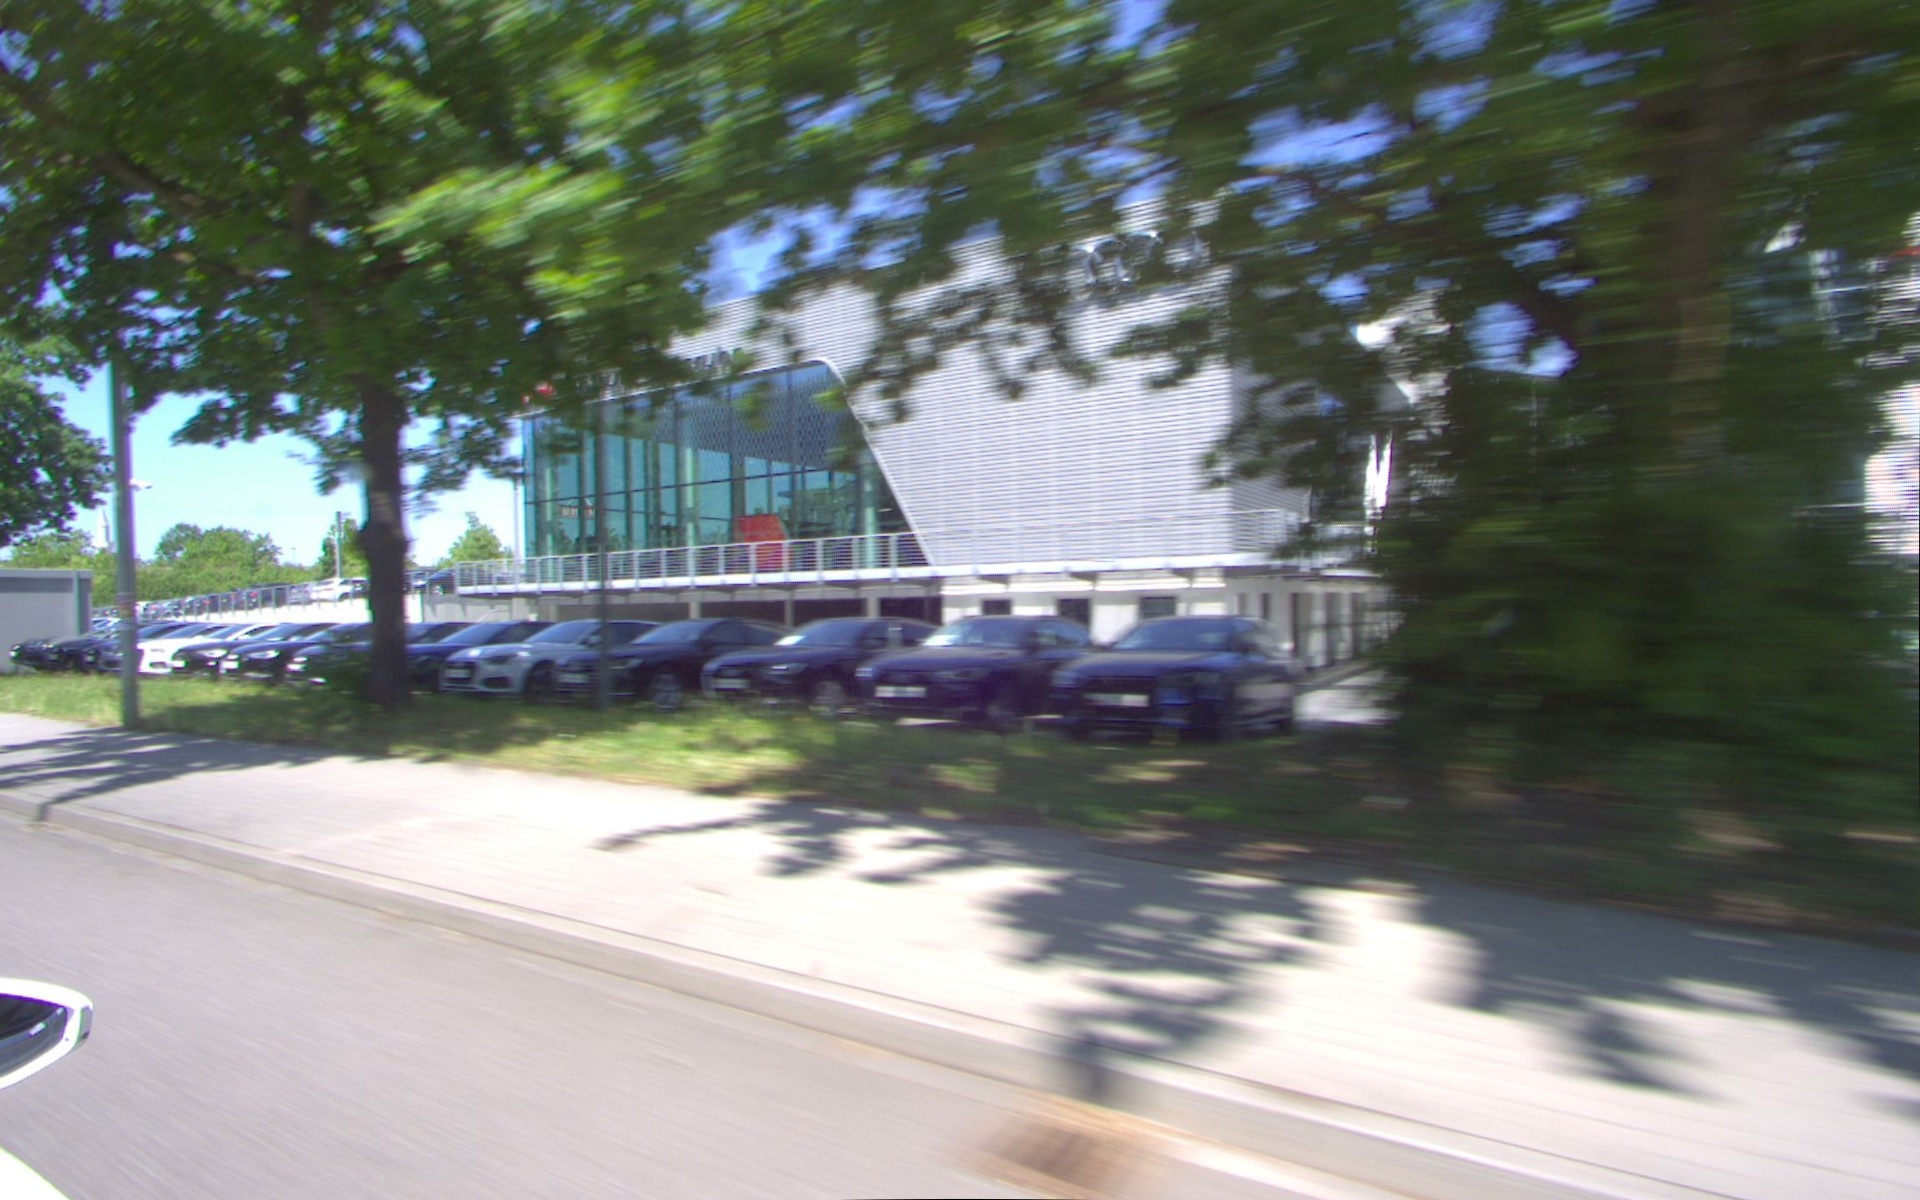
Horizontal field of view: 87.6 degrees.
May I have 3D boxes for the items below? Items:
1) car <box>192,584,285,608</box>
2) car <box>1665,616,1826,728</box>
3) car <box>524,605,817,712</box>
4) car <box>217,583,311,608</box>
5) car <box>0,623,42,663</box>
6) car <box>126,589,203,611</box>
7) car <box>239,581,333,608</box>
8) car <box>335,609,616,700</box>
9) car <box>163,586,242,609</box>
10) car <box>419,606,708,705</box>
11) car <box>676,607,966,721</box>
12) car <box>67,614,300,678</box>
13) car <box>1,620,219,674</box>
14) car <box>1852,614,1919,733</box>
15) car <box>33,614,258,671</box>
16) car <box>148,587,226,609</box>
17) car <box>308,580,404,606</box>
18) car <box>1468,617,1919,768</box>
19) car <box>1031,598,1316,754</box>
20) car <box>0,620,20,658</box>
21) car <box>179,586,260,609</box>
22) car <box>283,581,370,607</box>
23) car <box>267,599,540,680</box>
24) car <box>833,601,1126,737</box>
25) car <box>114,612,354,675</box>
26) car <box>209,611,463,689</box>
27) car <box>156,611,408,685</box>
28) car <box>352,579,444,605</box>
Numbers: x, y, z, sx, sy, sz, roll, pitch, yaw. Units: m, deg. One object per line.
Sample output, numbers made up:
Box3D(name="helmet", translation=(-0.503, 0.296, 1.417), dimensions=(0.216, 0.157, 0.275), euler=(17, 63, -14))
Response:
Box3D(name="car", translation=(-41.801, -0.238, 58.097), dimensions=(1.769, 1.329, 3.984), euler=(-1, 0, 27))
Box3D(name="car", translation=(12.763, 1.121, 16.486), dimensions=(1.617, 1.603, 3.893), euler=(-1, -3, 31))
Box3D(name="car", translation=(-4.321, 0.931, 15.624), dimensions=(1.890, 1.424, 4.217), euler=(-1, -4, 31))
Box3D(name="car", translation=(-39.447, -0.270, 56.840), dimensions=(1.769, 1.329, 3.984), euler=(-1, 0, 27))
Box3D(name="car", translation=(-35.692, 1.446, 35.655), dimensions=(1.769, 1.393, 3.990), euler=(-1, -5, 27))
Box3D(name="car", translation=(-50.258, -0.005, 63.345), dimensions=(1.519, 1.255, 3.519), euler=(-1, -2, 31))
Box3D(name="car", translation=(-37.217, -0.267, 55.375), dimensions=(1.769, 1.328, 3.986), euler=(-1, -2, 27))
Box3D(name="car", translation=(-8.588, 1.010, 18.141), dimensions=(1.890, 1.424, 4.217), euler=(-1, -4, 31))
Box3D(name="car", translation=(-46.080, -0.133, 60.982), dimensions=(1.586, 1.255, 3.521), euler=(-1, -2, 29))
Box3D(name="car", translation=(-6.475, 0.956, 16.830), dimensions=(1.890, 1.424, 4.217), euler=(-1, -4, 31))
Box3D(name="car", translation=(-1.790, 0.919, 14.301), dimensions=(1.852, 1.372, 4.217), euler=(-1, -4, 31))
Box3D(name="car", translation=(-19.432, 1.196, 25.257), dimensions=(1.890, 1.470, 4.217), euler=(-1, -4, 31))
Box3D(name="car", translation=(-23.511, 1.342, 27.869), dimensions=(1.890, 1.358, 4.217), euler=(-1, -4, 31))
Box3D(name="car", translation=(15.260, 1.097, 15.225), dimensions=(1.824, 1.675, 3.980), euler=(-1, -3, 31))
Box3D(name="car", translation=(-21.413, 1.167, 26.511), dimensions=(1.890, 1.358, 4.217), euler=(-1, -4, 31))
Box3D(name="car", translation=(-47.712, -0.096, 61.898), dimensions=(1.518, 1.255, 3.521), euler=(-1, -2, 29))
Box3D(name="car", translation=(-30.871, -0.338, 51.269), dimensions=(1.690, 1.227, 3.937), euler=(-1, -1, 27))
Box3D(name="car", translation=(8.135, 0.973, 11.250), dimensions=(1.819, 1.331, 4.460), euler=(2, -4, -15))
Box3D(name="car", translation=(2.640, 0.844, 11.431), dimensions=(1.807, 1.409, 4.445), euler=(-1, -4, 31))
Box3D(name="car", translation=(-37.958, 1.357, 37.218), dimensions=(1.769, 1.456, 3.990), euler=(-1, -5, 27))
Box3D(name="car", translation=(-44.050, -0.119, 59.631), dimensions=(1.586, 1.255, 3.521), euler=(-1, -2, 29))
Box3D(name="car", translation=(-33.302, -0.288, 52.725), dimensions=(1.650, 1.255, 3.523), euler=(-1, -2, 27))
Box3D(name="car", translation=(-10.664, 0.833, 19.507), dimensions=(1.960, 1.386, 4.217), euler=(-1, -4, 31))
Box3D(name="car", translation=(0.450, 0.875, 12.787), dimensions=(1.799, 1.424, 4.321), euler=(-1, -4, 31))
Box3D(name="car", translation=(-17.168, 1.091, 23.900), dimensions=(1.890, 1.358, 4.217), euler=(-1, -4, 31))
Box3D(name="car", translation=(-12.869, 1.096, 20.922), dimensions=(1.753, 1.397, 4.128), euler=(-1, -5, 31))
Box3D(name="car", translation=(-15.007, 1.132, 22.413), dimensions=(1.890, 1.402, 4.219), euler=(-1, -5, 31))
Box3D(name="car", translation=(-27.919, -0.366, 49.850), dimensions=(1.658, 1.145, 3.724), euler=(-1, -2, 27))
